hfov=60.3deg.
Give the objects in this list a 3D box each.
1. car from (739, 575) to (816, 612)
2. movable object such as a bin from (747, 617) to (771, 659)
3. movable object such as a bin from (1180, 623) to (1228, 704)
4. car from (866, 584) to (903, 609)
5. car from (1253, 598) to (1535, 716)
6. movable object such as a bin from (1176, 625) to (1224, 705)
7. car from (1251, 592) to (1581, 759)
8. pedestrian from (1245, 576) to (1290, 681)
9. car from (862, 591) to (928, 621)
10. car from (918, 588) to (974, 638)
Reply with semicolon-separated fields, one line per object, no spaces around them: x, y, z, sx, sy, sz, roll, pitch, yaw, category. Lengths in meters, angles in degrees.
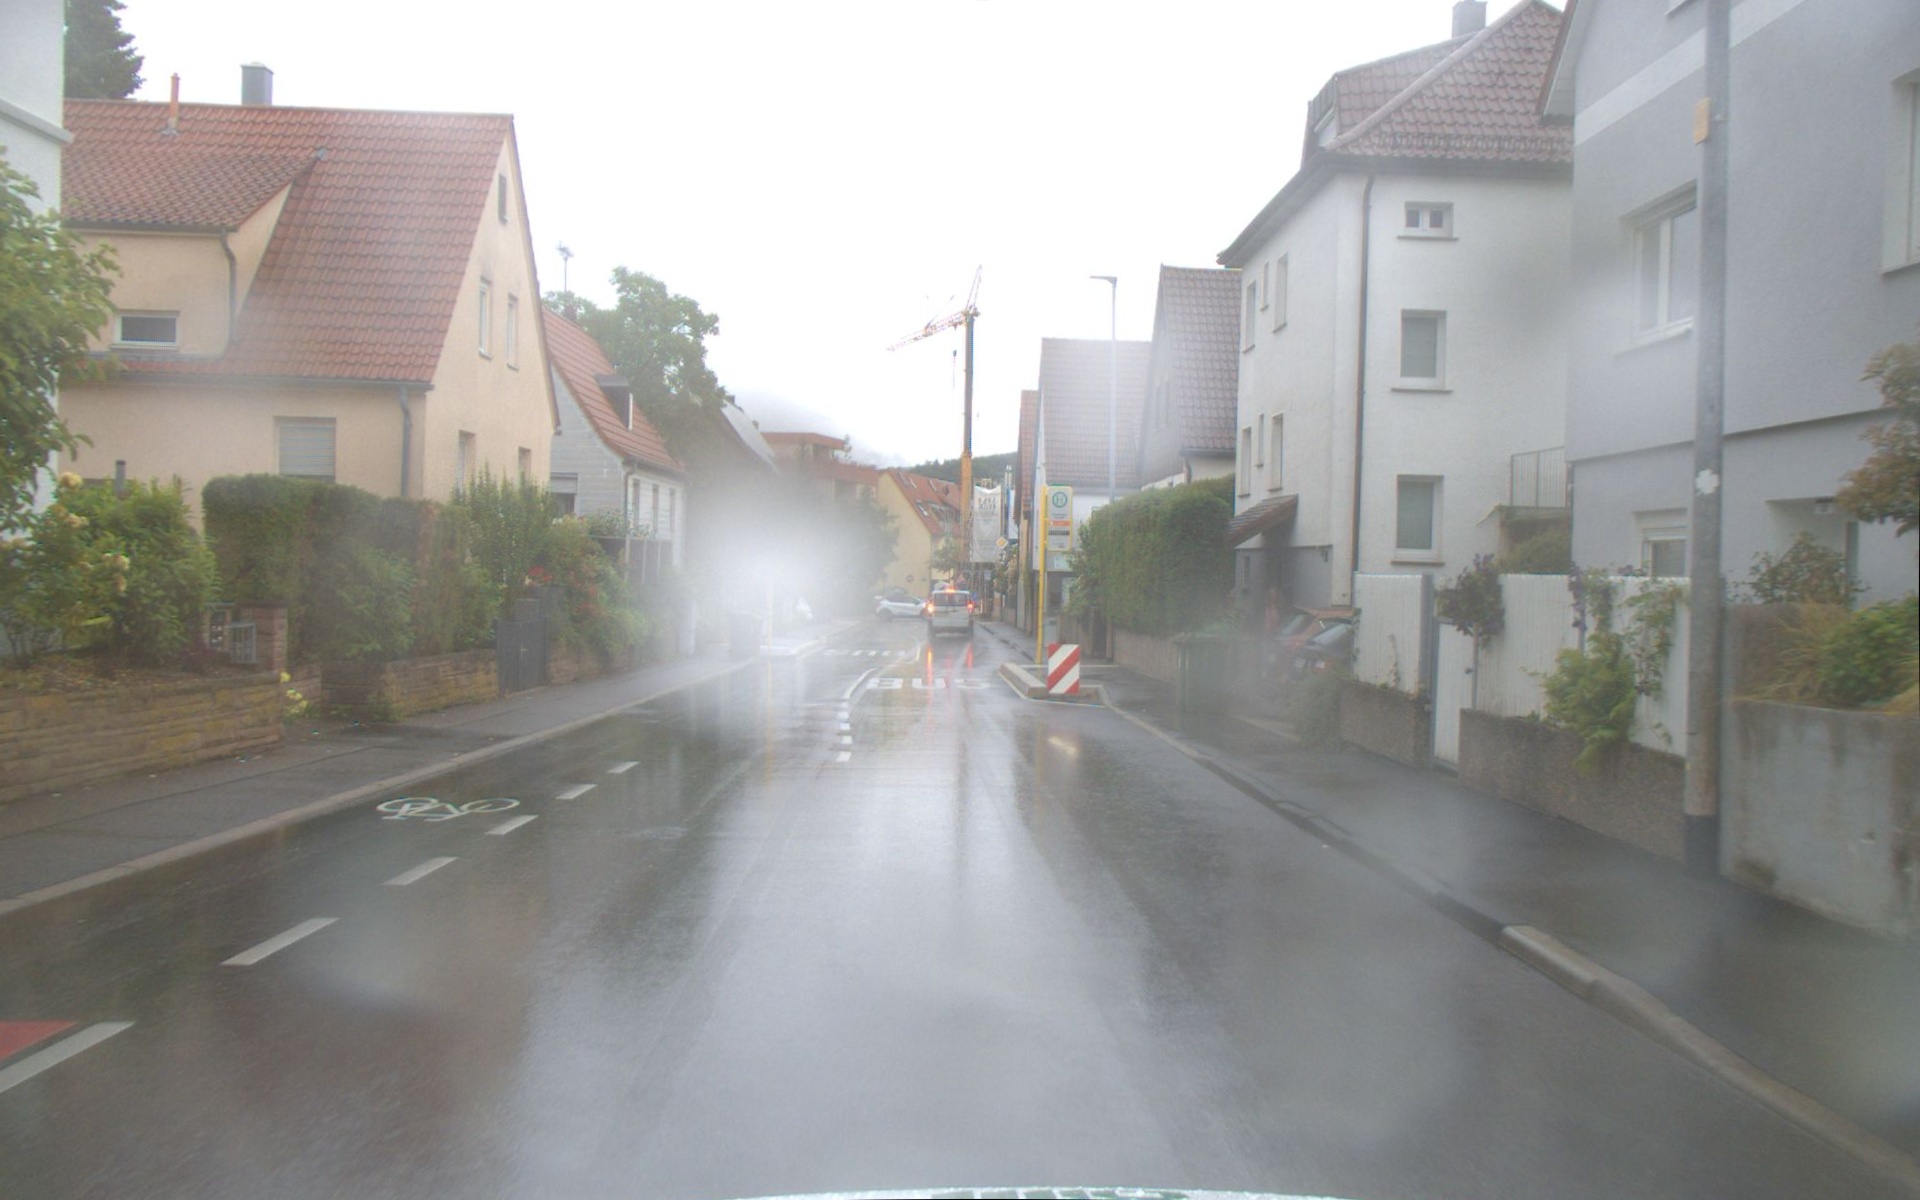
-8.862;-0.310;80.492;3.472;1.556;1.663;3;0;0;car
-4.904;0.922;40.386;0.459;0.955;0.455;5;2;1;movable object such as a bin
3.387;0.875;22.974;0.556;1.095;0.537;1;0;-3;movable object such as a bin
-5.521;-0.290;121.155;1.566;1.707;3.942;2;2;14;car
5.841;0.745;22.498;3.406;1.536;1.580;0;0;-1;car
3.340;0.903;23.072;0.556;1.095;0.537;1;0;-3;movable object such as a bin
5.387;0.868;19.807;3.377;1.506;1.580;7;0;-1;car
5.233;0.478;28.179;0.615;1.756;0.619;1;0;-1;pedestrian
-4.071;0.368;103.597;3.902;1.825;1.805;1;-1;6;car
-0.575;0.522;66.704;2.137;1.902;3.999;1;-1;-1;car
